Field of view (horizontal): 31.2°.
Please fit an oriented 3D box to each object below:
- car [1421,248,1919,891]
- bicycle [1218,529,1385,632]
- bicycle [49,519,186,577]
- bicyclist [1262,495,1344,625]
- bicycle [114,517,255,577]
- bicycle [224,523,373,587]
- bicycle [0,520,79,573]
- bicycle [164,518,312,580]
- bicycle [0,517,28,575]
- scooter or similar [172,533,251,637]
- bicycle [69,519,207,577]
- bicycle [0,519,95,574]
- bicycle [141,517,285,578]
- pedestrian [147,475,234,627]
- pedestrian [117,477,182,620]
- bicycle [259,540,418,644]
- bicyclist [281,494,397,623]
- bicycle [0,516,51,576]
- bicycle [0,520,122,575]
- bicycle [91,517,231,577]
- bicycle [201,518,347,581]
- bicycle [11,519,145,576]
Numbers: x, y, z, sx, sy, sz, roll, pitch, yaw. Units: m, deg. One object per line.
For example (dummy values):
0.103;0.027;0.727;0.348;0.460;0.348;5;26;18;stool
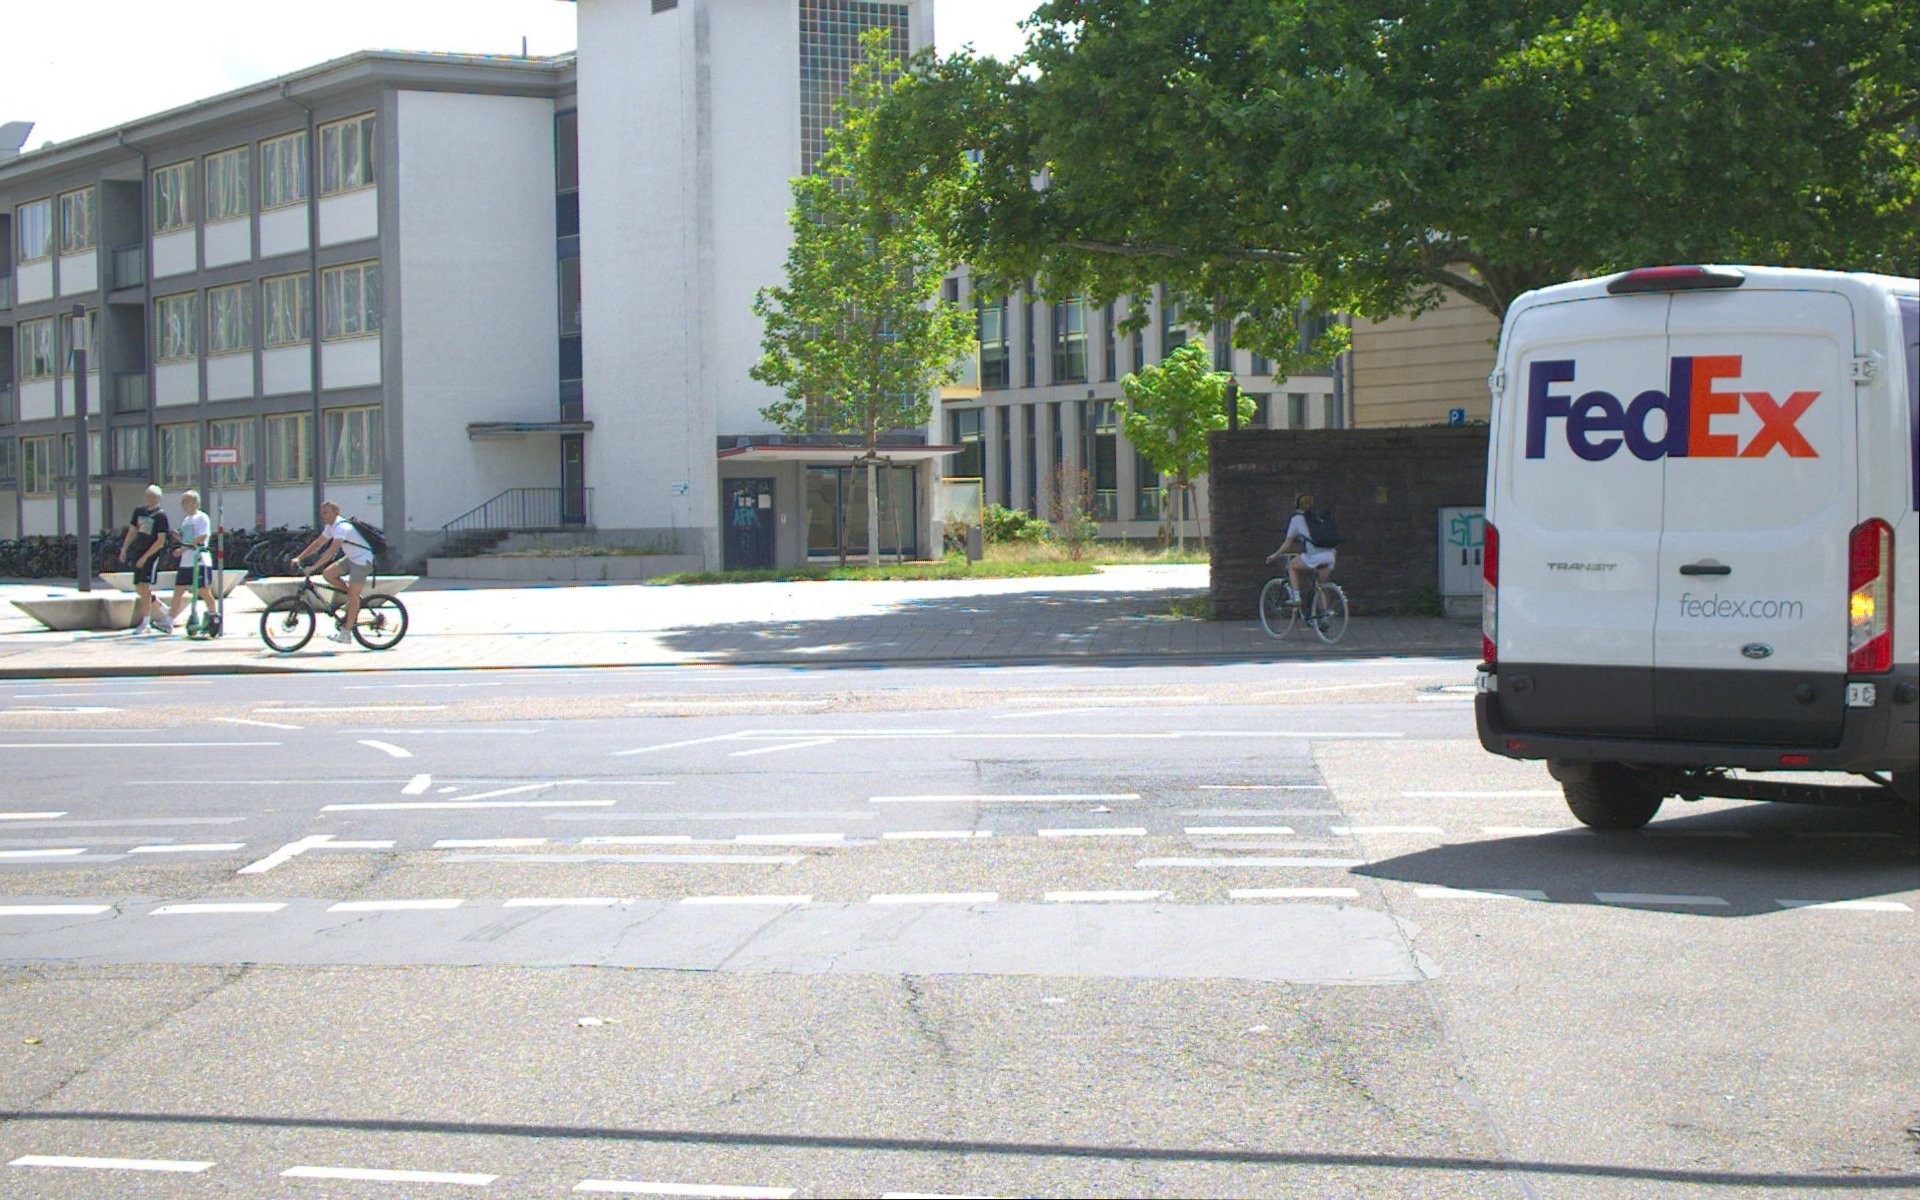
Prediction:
4.680;-0.217;16.447;2.100;2.557;5.589;3;3;41;car
3.820;-0.230;38.627;0.550;1.127;2.174;-2;2;-36;bicycle
-20.040;-1.244;81.820;2.956;1.359;1.117;-1;1;-37;bicycle
3.848;-0.453;38.596;0.514;1.447;0.787;-2;2;-37;bicyclist
-17.735;-1.220;78.676;2.956;1.359;1.117;-1;1;-37;bicycle
-14.251;-0.989;74.122;2.956;1.359;1.117;-1;1;-37;bicycle
-24.241;-1.384;88.239;2.956;1.359;1.117;-1;1;-37;bicycle
-16.052;-1.140;76.491;2.956;1.359;1.275;-1;1;-37;bicycle
-26.669;-1.450;92.303;2.956;1.569;1.117;-1;1;-37;bicycle
-9.075;-0.205;41.637;0.716;1.174;2.726;-1;2;-17;scooter or similar
-19.306;-1.230;80.793;2.956;1.359;1.117;-1;1;-37;bicycle
-23.533;-1.361;87.057;2.956;1.359;1.117;-1;1;-37;bicycle
-16.832;-1.191;77.509;2.956;1.359;1.117;-1;1;-37;bicycle
-9.721;-0.622;43.395;0.865;1.882;0.913;-1;1;-25;pedestrian
-10.378;-0.667;44.026;0.668;1.808;0.816;-1;1;-22;pedestrian
-7.169;-0.109;39.742;0.848;1.141;1.993;0;2;23;bicycle
-7.170;-0.487;39.738;0.850;1.463;1.067;0;2;23;bicyclist
-25.701;-1.425;91.014;2.956;1.569;1.117;-1;1;-37;bicycle
-22.387;-1.310;85.210;2.956;1.359;1.117;-1;1;-37;bicycle
-18.531;-1.238;79.736;2.956;1.359;1.117;-1;1;-37;bicycle
-14.998;-1.116;75.223;2.956;1.359;1.117;-1;1;-37;bicycle
-21.480;-1.281;83.723;2.956;1.359;1.117;-1;1;-37;bicycle
